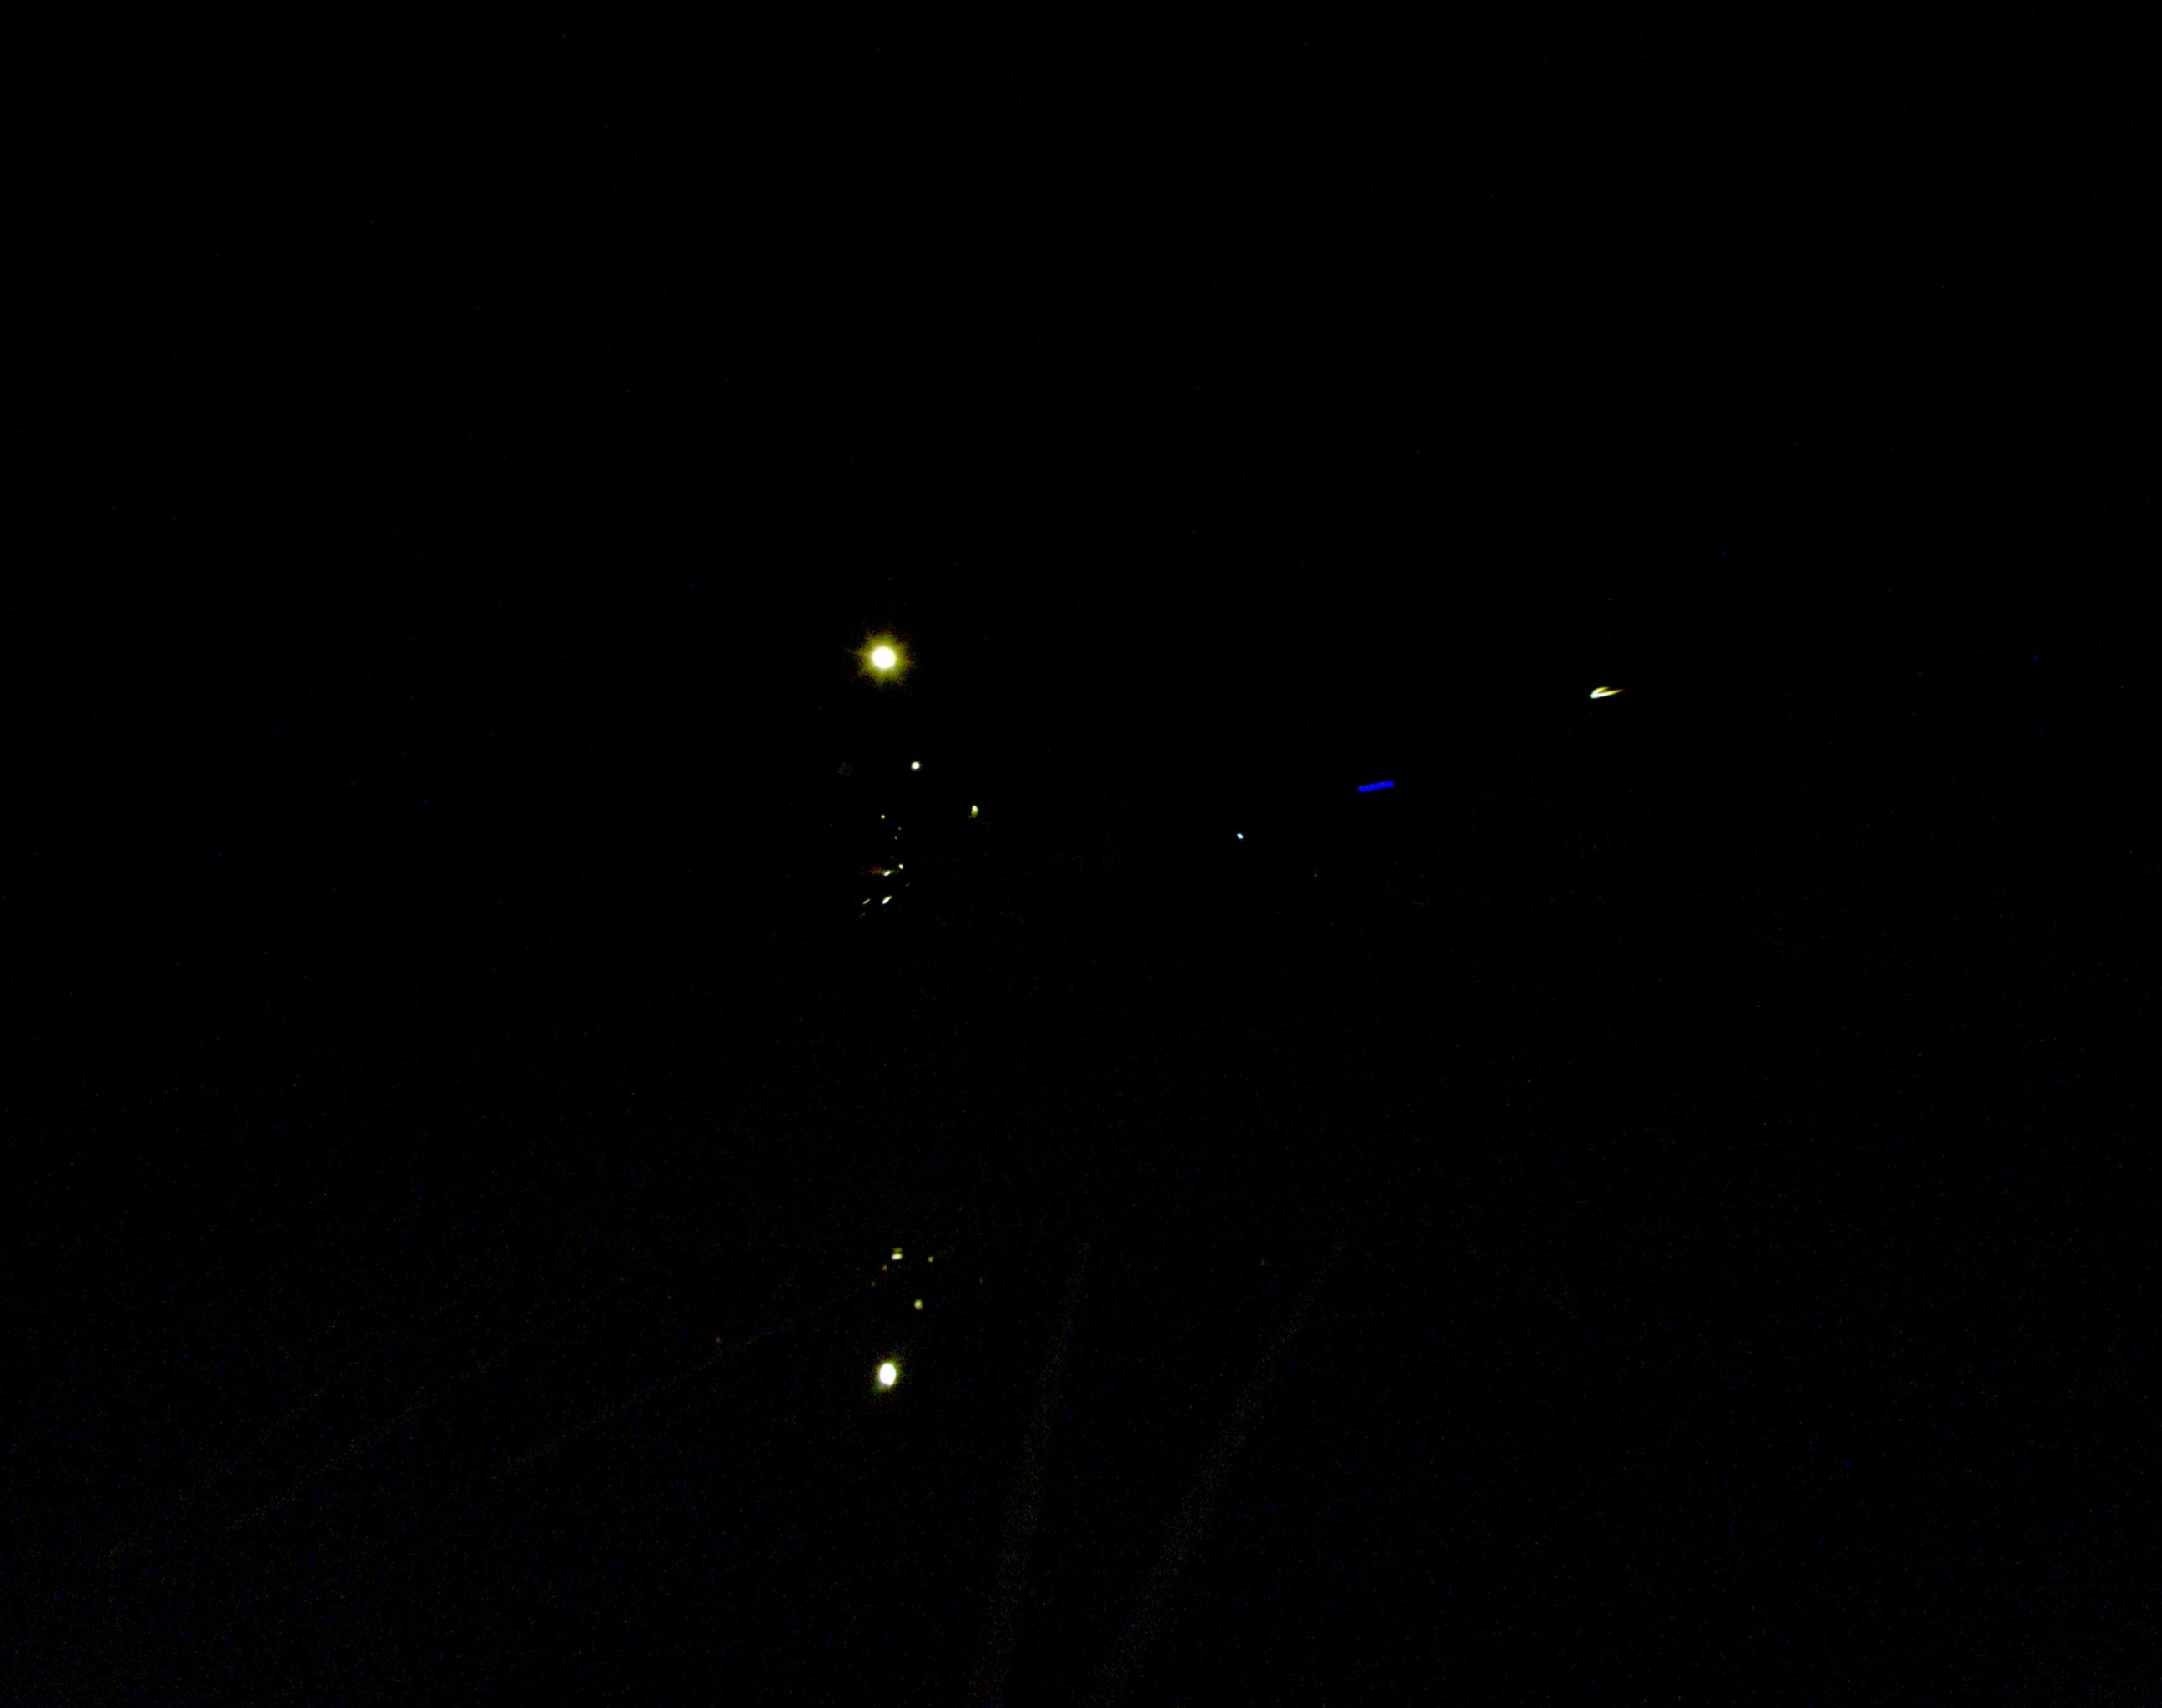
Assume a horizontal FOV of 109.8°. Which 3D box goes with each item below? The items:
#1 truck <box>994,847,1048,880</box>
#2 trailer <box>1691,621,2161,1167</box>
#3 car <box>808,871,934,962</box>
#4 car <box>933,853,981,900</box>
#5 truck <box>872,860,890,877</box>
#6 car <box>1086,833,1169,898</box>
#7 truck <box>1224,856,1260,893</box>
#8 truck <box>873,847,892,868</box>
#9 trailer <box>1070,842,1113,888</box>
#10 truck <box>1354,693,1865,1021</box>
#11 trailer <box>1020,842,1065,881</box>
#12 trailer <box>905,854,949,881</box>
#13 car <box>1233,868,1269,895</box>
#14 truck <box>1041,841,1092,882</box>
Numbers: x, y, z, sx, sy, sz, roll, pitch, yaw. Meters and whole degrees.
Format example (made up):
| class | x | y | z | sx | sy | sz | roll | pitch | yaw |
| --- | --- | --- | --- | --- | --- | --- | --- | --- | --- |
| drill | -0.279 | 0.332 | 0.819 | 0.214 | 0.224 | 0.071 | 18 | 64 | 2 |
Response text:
| class | x | y | z | sx | sy | sz | roll | pitch | yaw |
| --- | --- | --- | --- | --- | --- | --- | --- | --- | --- |
| truck | -6.012 | 0.925 | 74.376 | 2.755 | 3.047 | 9.321 | -1 | 0 | -21 |
| trailer | 6.579 | 0.193 | 4.431 | 2.210 | 2.779 | 4.616 | -1 | 0 | -2 |
| car | -4.171 | 1.168 | 15.680 | 1.613 | 1.503 | 3.825 | -4 | 0 | -3 |
| car | -5.923 | 1.036 | 36.061 | 2.000 | 2.001 | 5.351 | -3 | -1 | -10 |
| truck | -30.275 | 2.206 | 115.009 | 2.408 | 2.555 | 6.400 | 0 | -1 | -12 |
| car | 2.371 | 0.612 | 41.575 | 2.391 | 3.224 | 7.223 | -1 | 0 | -15 |
| truck | 11.962 | 1.478 | 56.816 | 2.136 | 2.597 | 7.104 | 0 | -1 | 8 |
| truck | -34.789 | 0.688 | 132.883 | 3.060 | 3.601 | 9.589 | -1 | -1 | -15 |
| trailer | 0.629 | 0.715 | 48.591 | 2.003 | 2.749 | 3.997 | 1 | -1 | -10 |
| truck | 6.584 | 0.067 | 11.199 | 2.379 | 3.224 | 7.232 | -1 | 0 | -1 |
| trailer | -3.338 | 0.632 | 63.932 | 2.491 | 3.054 | 7.946 | -1 | -1 | -12 |
| trailer | -11.992 | 1.083 | 58.904 | 1.498 | 2.001 | 4.973 | -1 | -1 | -35 |
| car | 10.849 | 1.732 | 48.664 | 1.861 | 1.630 | 4.002 | 0 | -1 | 6 |
| truck | -1.139 | 0.546 | 55.107 | 2.001 | 2.767 | 7.235 | -1 | -1 | -15 |
